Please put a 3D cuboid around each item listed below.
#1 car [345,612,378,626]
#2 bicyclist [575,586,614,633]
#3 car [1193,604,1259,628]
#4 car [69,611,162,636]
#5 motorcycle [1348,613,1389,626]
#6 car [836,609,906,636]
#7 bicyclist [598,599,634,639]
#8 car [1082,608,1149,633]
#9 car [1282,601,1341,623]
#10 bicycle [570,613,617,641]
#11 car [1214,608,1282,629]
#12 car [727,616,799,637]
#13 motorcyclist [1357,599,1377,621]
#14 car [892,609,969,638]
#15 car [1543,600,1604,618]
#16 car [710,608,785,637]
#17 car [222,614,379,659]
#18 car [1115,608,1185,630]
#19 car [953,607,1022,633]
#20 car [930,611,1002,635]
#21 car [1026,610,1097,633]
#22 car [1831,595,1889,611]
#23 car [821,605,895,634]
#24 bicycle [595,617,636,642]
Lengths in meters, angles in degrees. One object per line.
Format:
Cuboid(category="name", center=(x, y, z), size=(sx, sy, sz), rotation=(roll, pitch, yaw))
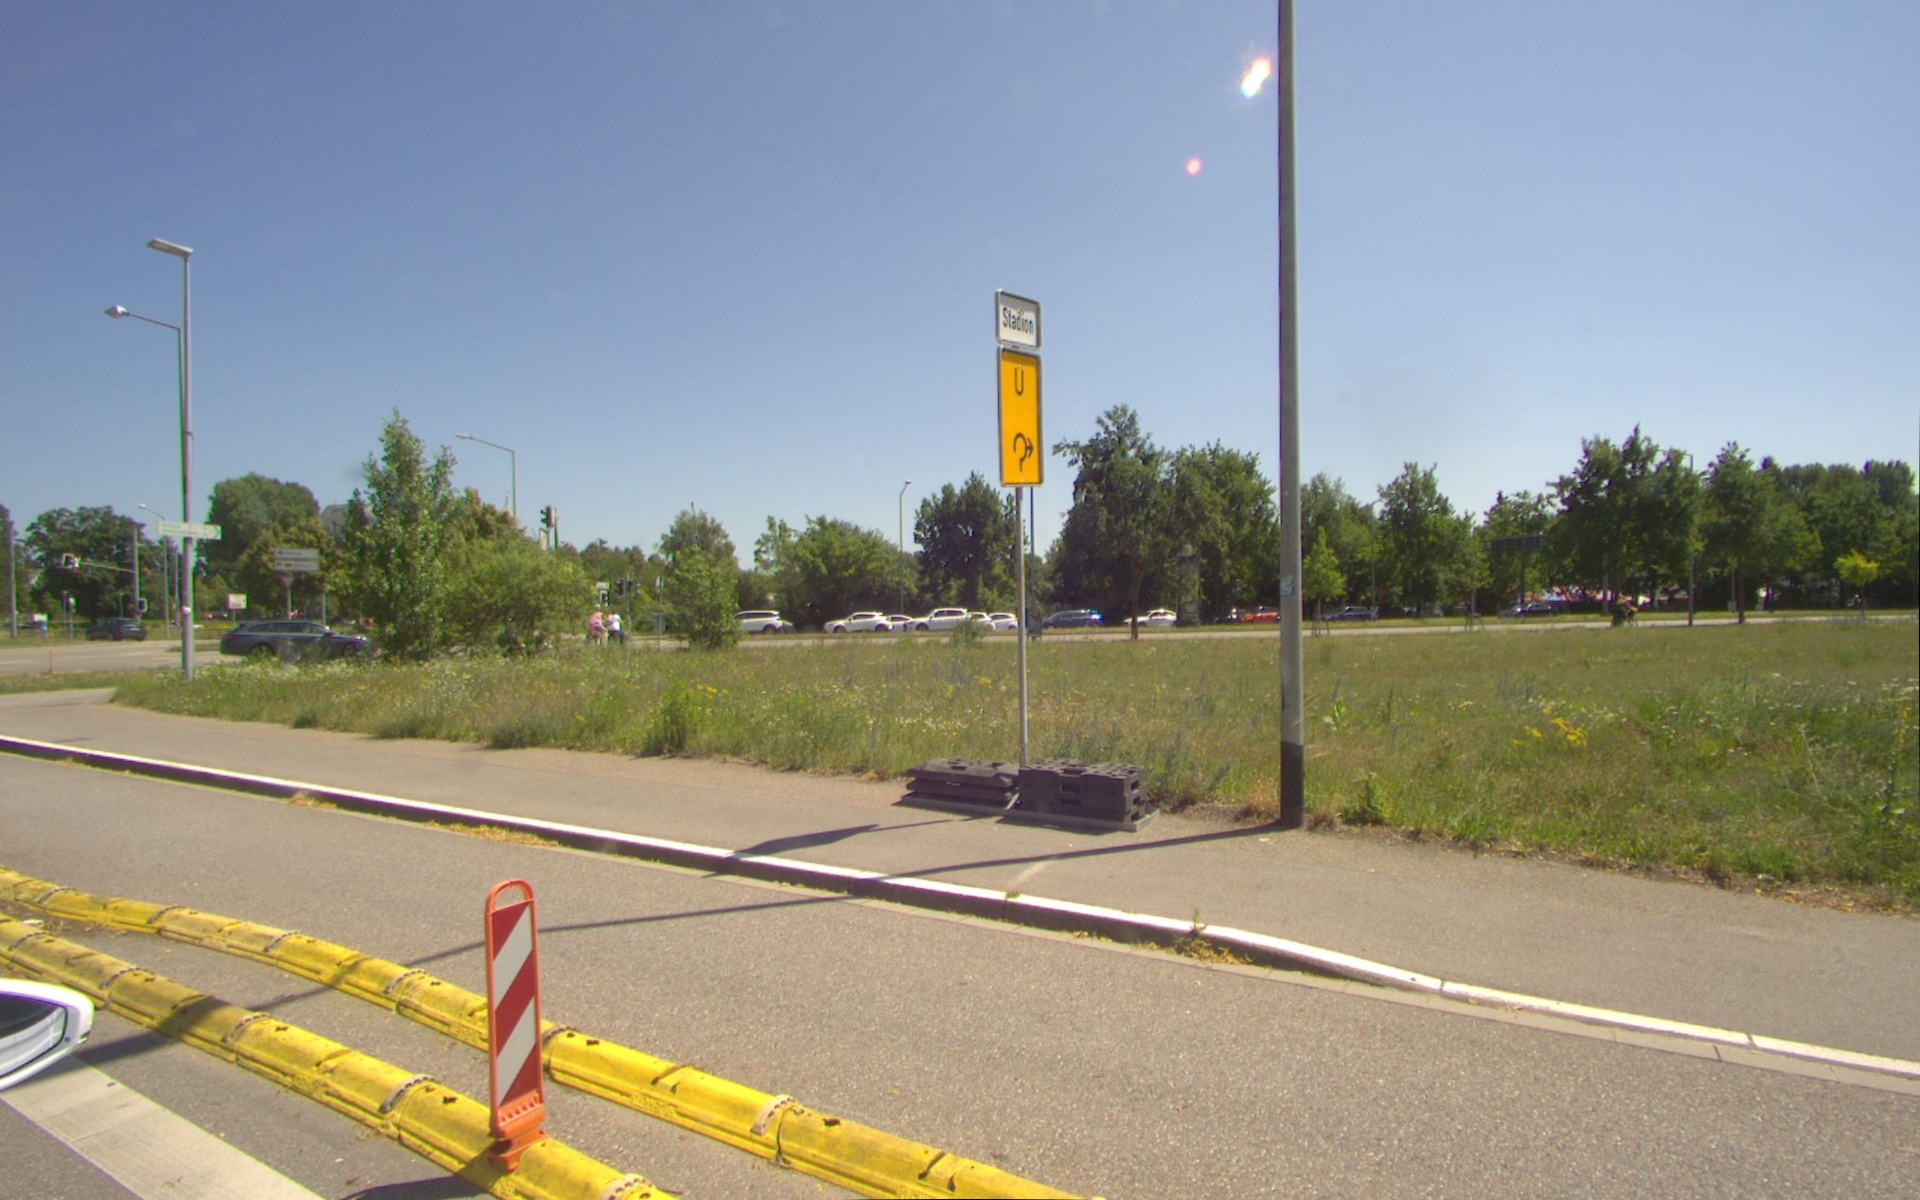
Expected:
Cuboid(category="car", center=(-88.443, 2.861, 148.033), size=(3.931, 2.039, 1.996), rotation=(0, -2, -19))
Cuboid(category="bicyclist", center=(-12.769, 0.334, 35.026), size=(0.941, 1.630, 1.186), rotation=(0, -1, -2))
Cuboid(category="car", center=(19.509, 1.136, 73.472), size=(4.329, 1.705, 1.861), rotation=(0, 0, -16))
Cuboid(category="car", center=(-51.124, 1.431, 60.664), size=(3.922, 1.482, 2.001), rotation=(0, -2, 1))
Cuboid(category="motorcycle", center=(29.701, 1.434, 72.753), size=(2.764, 0.964, 0.897), rotation=(0, -2, -13))
Cuboid(category="car", center=(-5.854, 1.445, 65.930), size=(4.329, 1.705, 1.861), rotation=(0, 0, -16))
Cuboid(category="bicyclist", center=(-13.476, 0.738, 39.235), size=(0.941, 1.552, 1.185), rotation=(0, 1, 3))
Cuboid(category="car", center=(11.045, 1.453, 71.117), size=(4.329, 1.705, 1.861), rotation=(0, 0, -16))
Cuboid(category="car", center=(25.293, 0.894, 72.056), size=(3.730, 1.493, 1.718), rotation=(0, -2, -17))
Cuboid(category="bicycle", center=(-12.777, 0.937, 34.990), size=(0.881, 0.912, 2.227), rotation=(1, -1, -2))
Cuboid(category="car", center=(20.351, 1.307, 70.723), size=(4.329, 1.441, 1.861), rotation=(0, 0, -16))
Cuboid(category="car", center=(-12.568, 1.664, 63.802), size=(4.329, 1.287, 1.861), rotation=(0, 0, -16))
Cuboid(category="motorcyclist", center=(29.589, 0.715, 72.774), size=(0.992, 1.606, 0.908), rotation=(0, -1, -14))
Cuboid(category="car", center=(-1.810, 1.398, 60.951), size=(4.329, 1.705, 1.861), rotation=(0, 0, -16))
Cuboid(category="car", center=(50.051, 0.738, 81.725), size=(4.329, 1.441, 1.861), rotation=(0, 0, -16))
Cuboid(category="car", center=(-12.835, 1.336, 60.424), size=(4.329, 1.639, 1.861), rotation=(0, 0, -16))
Cuboid(category="car", center=(-23.097, 1.233, 35.150), size=(4.405, 1.437, 1.983), rotation=(0, 0, -40))
Cuboid(category="car", center=(12.962, 1.269, 68.399), size=(4.329, 1.441, 1.861), rotation=(0, 0, -16))
Cuboid(category="car", center=(1.873, 1.366, 68.309), size=(4.329, 1.705, 1.861), rotation=(0, 0, -16))
Cuboid(category="car", center=(0.384, 1.467, 64.744), size=(4.329, 1.441, 1.861), rotation=(0, 0, -16))
Cuboid(category="car", center=(6.729, 1.423, 66.373), size=(4.329, 1.441, 1.861), rotation=(0, 0, -16))
Cuboid(category="car", center=(80.611, 0.258, 89.679), size=(4.329, 1.441, 1.861), rotation=(0, 0, -16))
Cuboid(category="car", center=(-6.390, 1.199, 62.596), size=(4.329, 1.705, 1.861), rotation=(0, 0, -16))
Cuboid(category="bicycle", center=(-13.485, 1.142, 39.261), size=(0.881, 0.912, 1.762), rotation=(1, 1, 4))
